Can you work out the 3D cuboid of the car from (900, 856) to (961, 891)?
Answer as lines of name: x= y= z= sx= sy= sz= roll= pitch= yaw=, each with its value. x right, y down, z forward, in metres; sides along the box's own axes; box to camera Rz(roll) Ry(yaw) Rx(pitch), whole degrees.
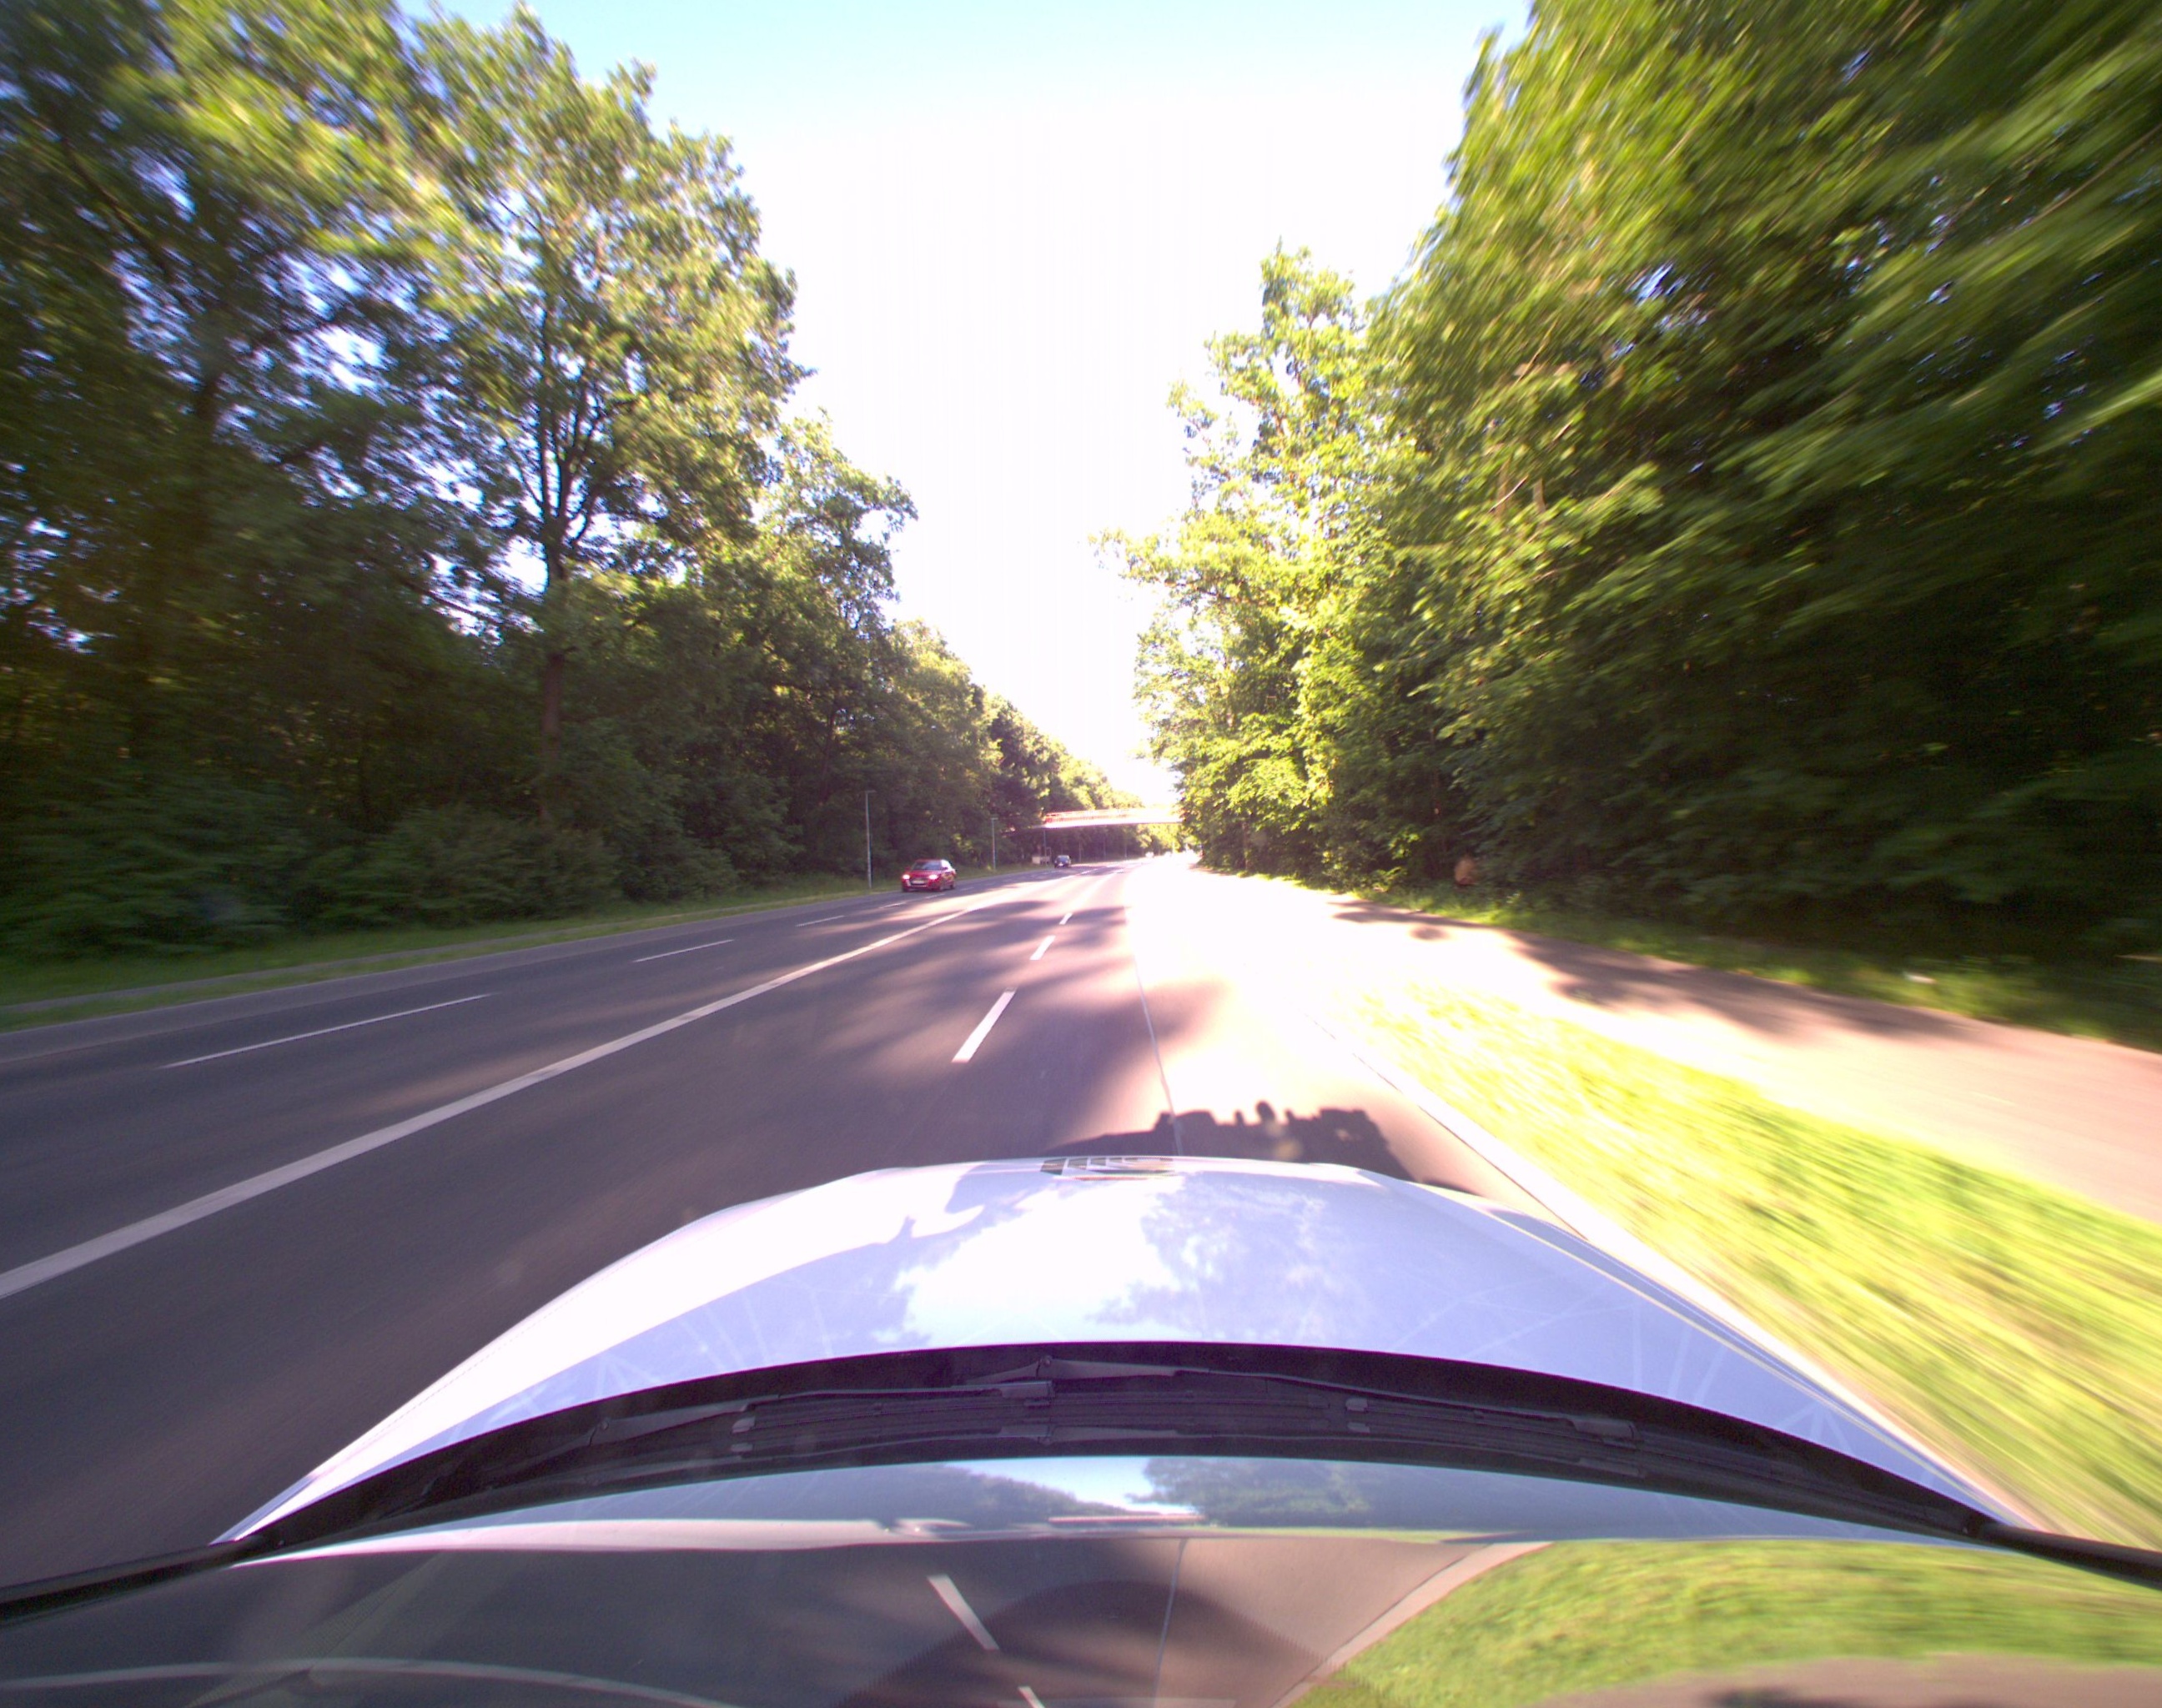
car: x=-6.694 y=0.831 z=36.680 sx=1.702 sy=1.423 sz=4.134 roll=-1 pitch=0 yaw=4

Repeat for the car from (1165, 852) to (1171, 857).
car: x=27.394 y=0.066 z=257.157 sx=1.713 sy=1.574 sz=4.187 roll=0 pitch=0 yaw=8

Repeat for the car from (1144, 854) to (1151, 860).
car: x=17.896 y=0.721 z=219.133 sx=1.752 sy=1.582 sz=4.177 roll=0 pitch=0 yaw=8

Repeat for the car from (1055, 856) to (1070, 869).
car: x=-2.074 y=0.939 z=92.598 sx=1.490 sy=1.444 sz=3.501 roll=-1 pitch=0 yaw=1
